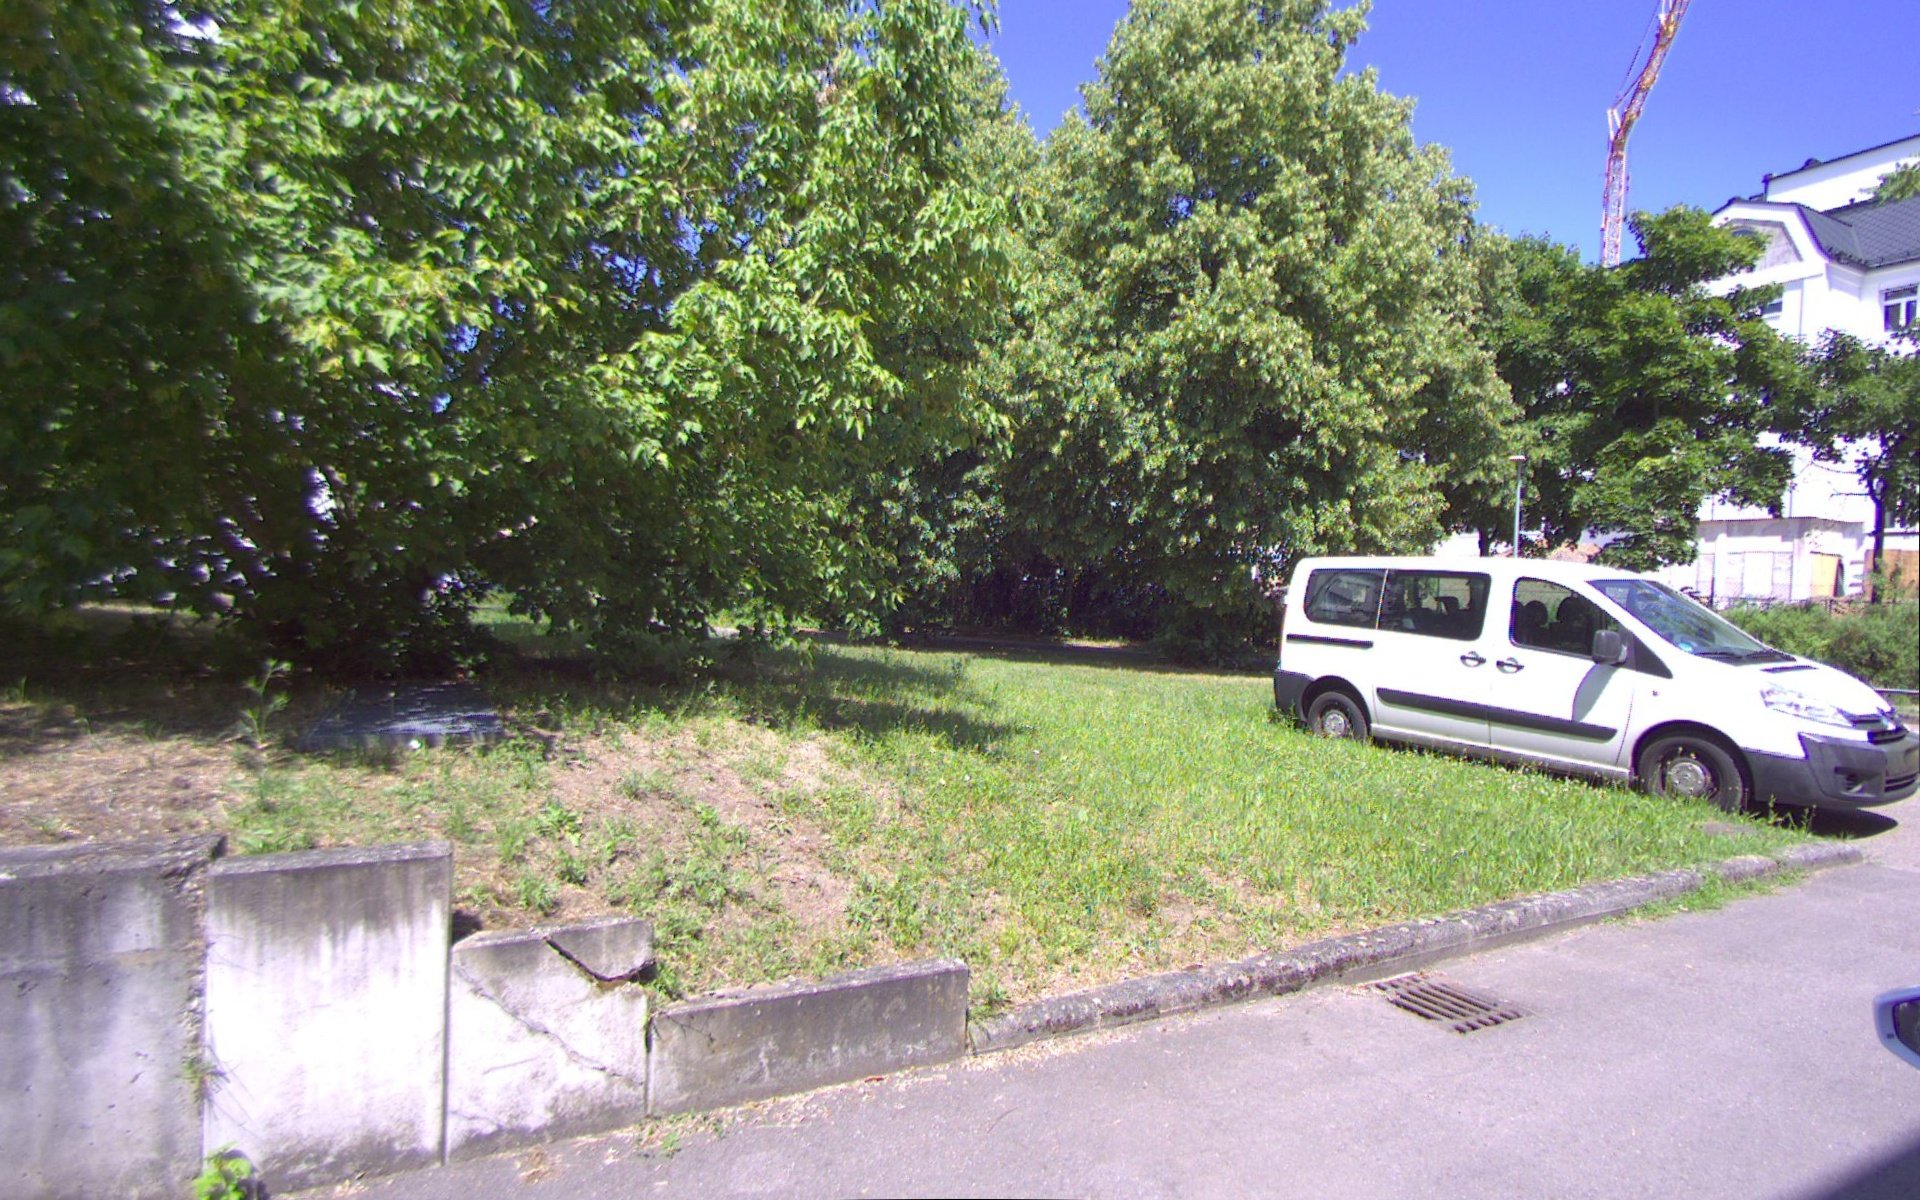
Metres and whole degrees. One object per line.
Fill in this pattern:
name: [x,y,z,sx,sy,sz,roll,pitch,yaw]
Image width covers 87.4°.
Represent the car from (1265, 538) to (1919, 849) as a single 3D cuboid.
car: [5.238,0.560,8.815,1.978,1.937,4.761,1,1,-32]
